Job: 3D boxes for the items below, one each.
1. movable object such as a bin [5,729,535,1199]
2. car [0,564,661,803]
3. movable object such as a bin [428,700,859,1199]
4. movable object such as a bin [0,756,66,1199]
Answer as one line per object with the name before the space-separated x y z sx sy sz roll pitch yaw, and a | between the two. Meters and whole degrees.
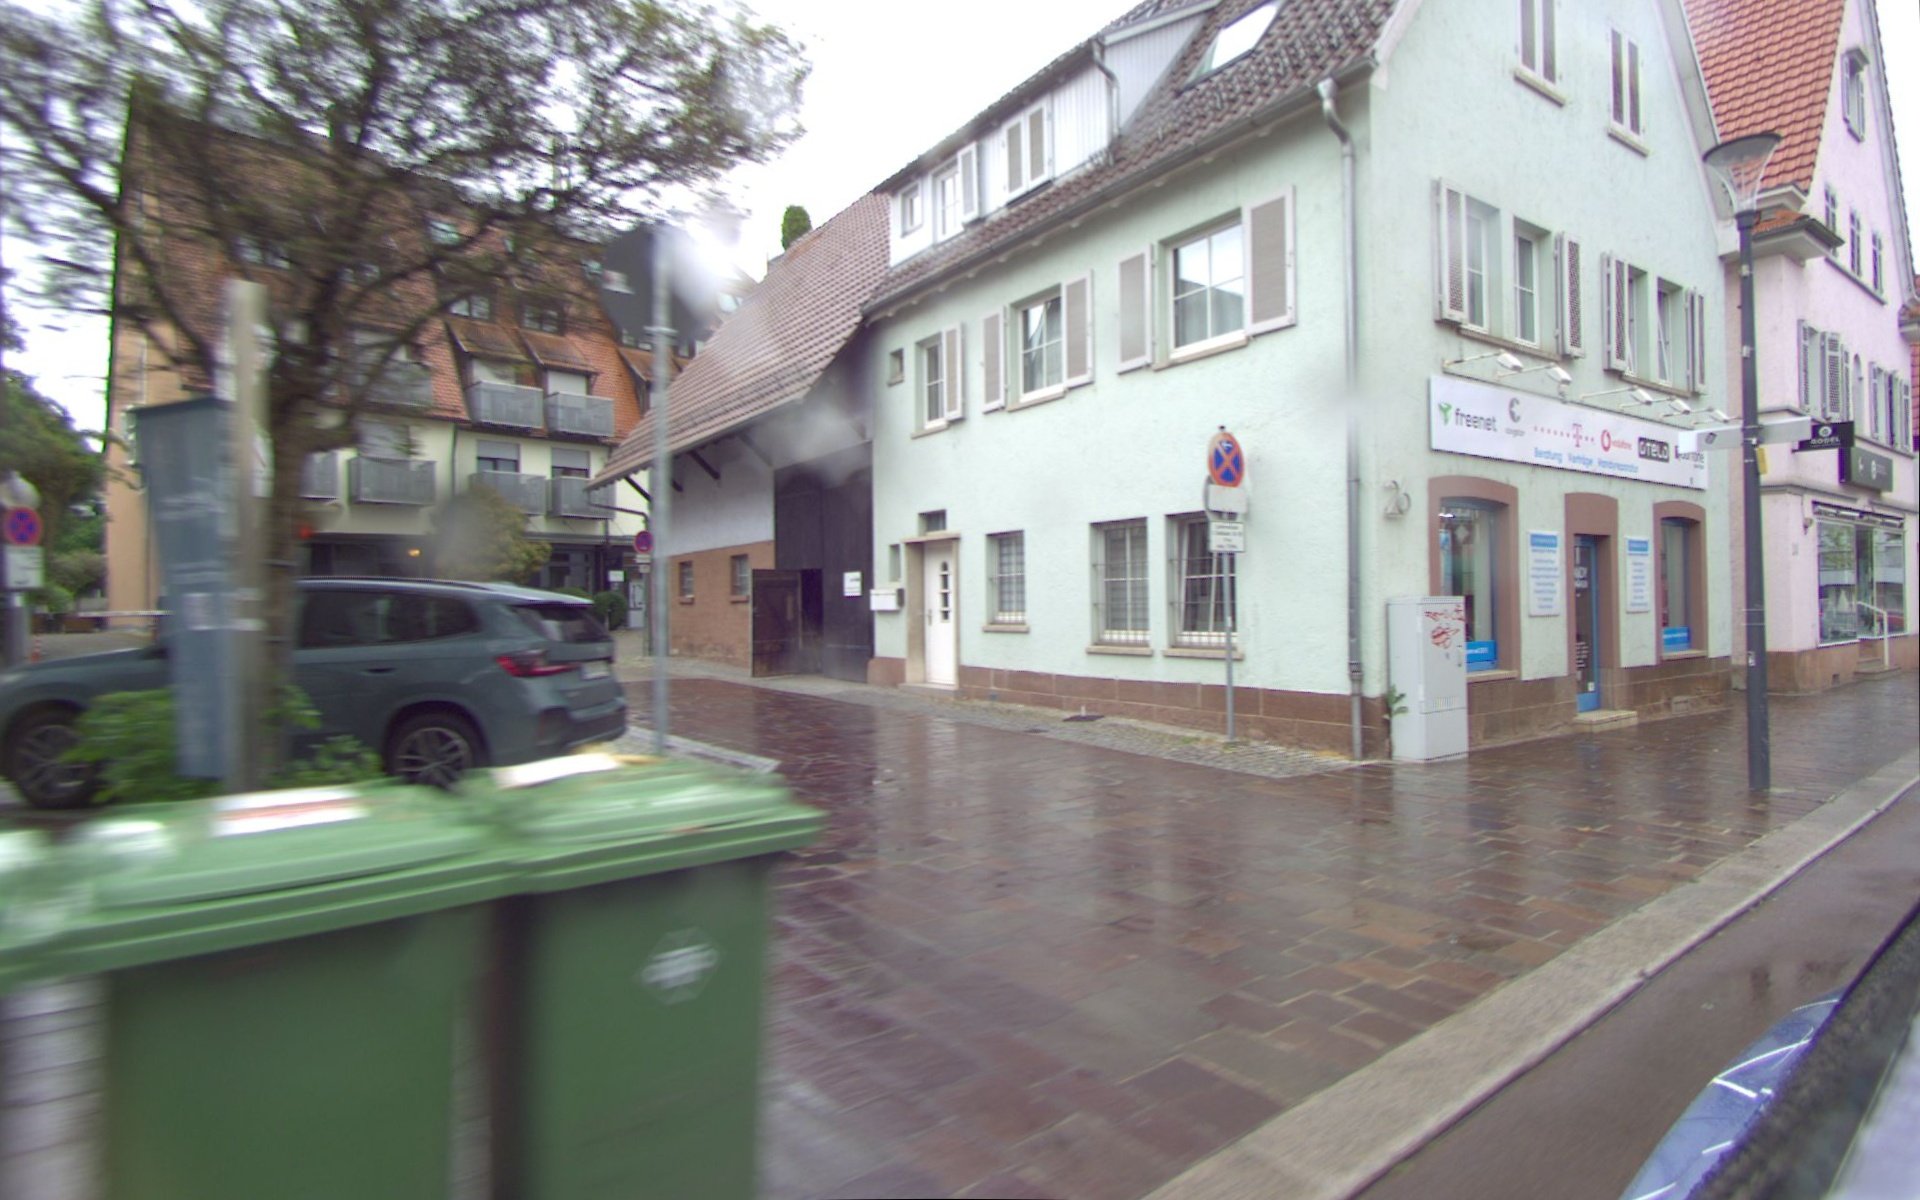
movable object such as a bin | -1.122 0.814 1.683 0.589 1.077 0.756 -1 -1 -38
car | -4.741 0.581 7.864 4.306 1.620 1.889 0 -1 -2
movable object such as a bin | -0.671 0.796 2.065 0.588 1.093 0.770 -1 -1 -38
movable object such as a bin | -1.513 0.817 1.284 0.512 1.105 0.730 -1 -1 -38
